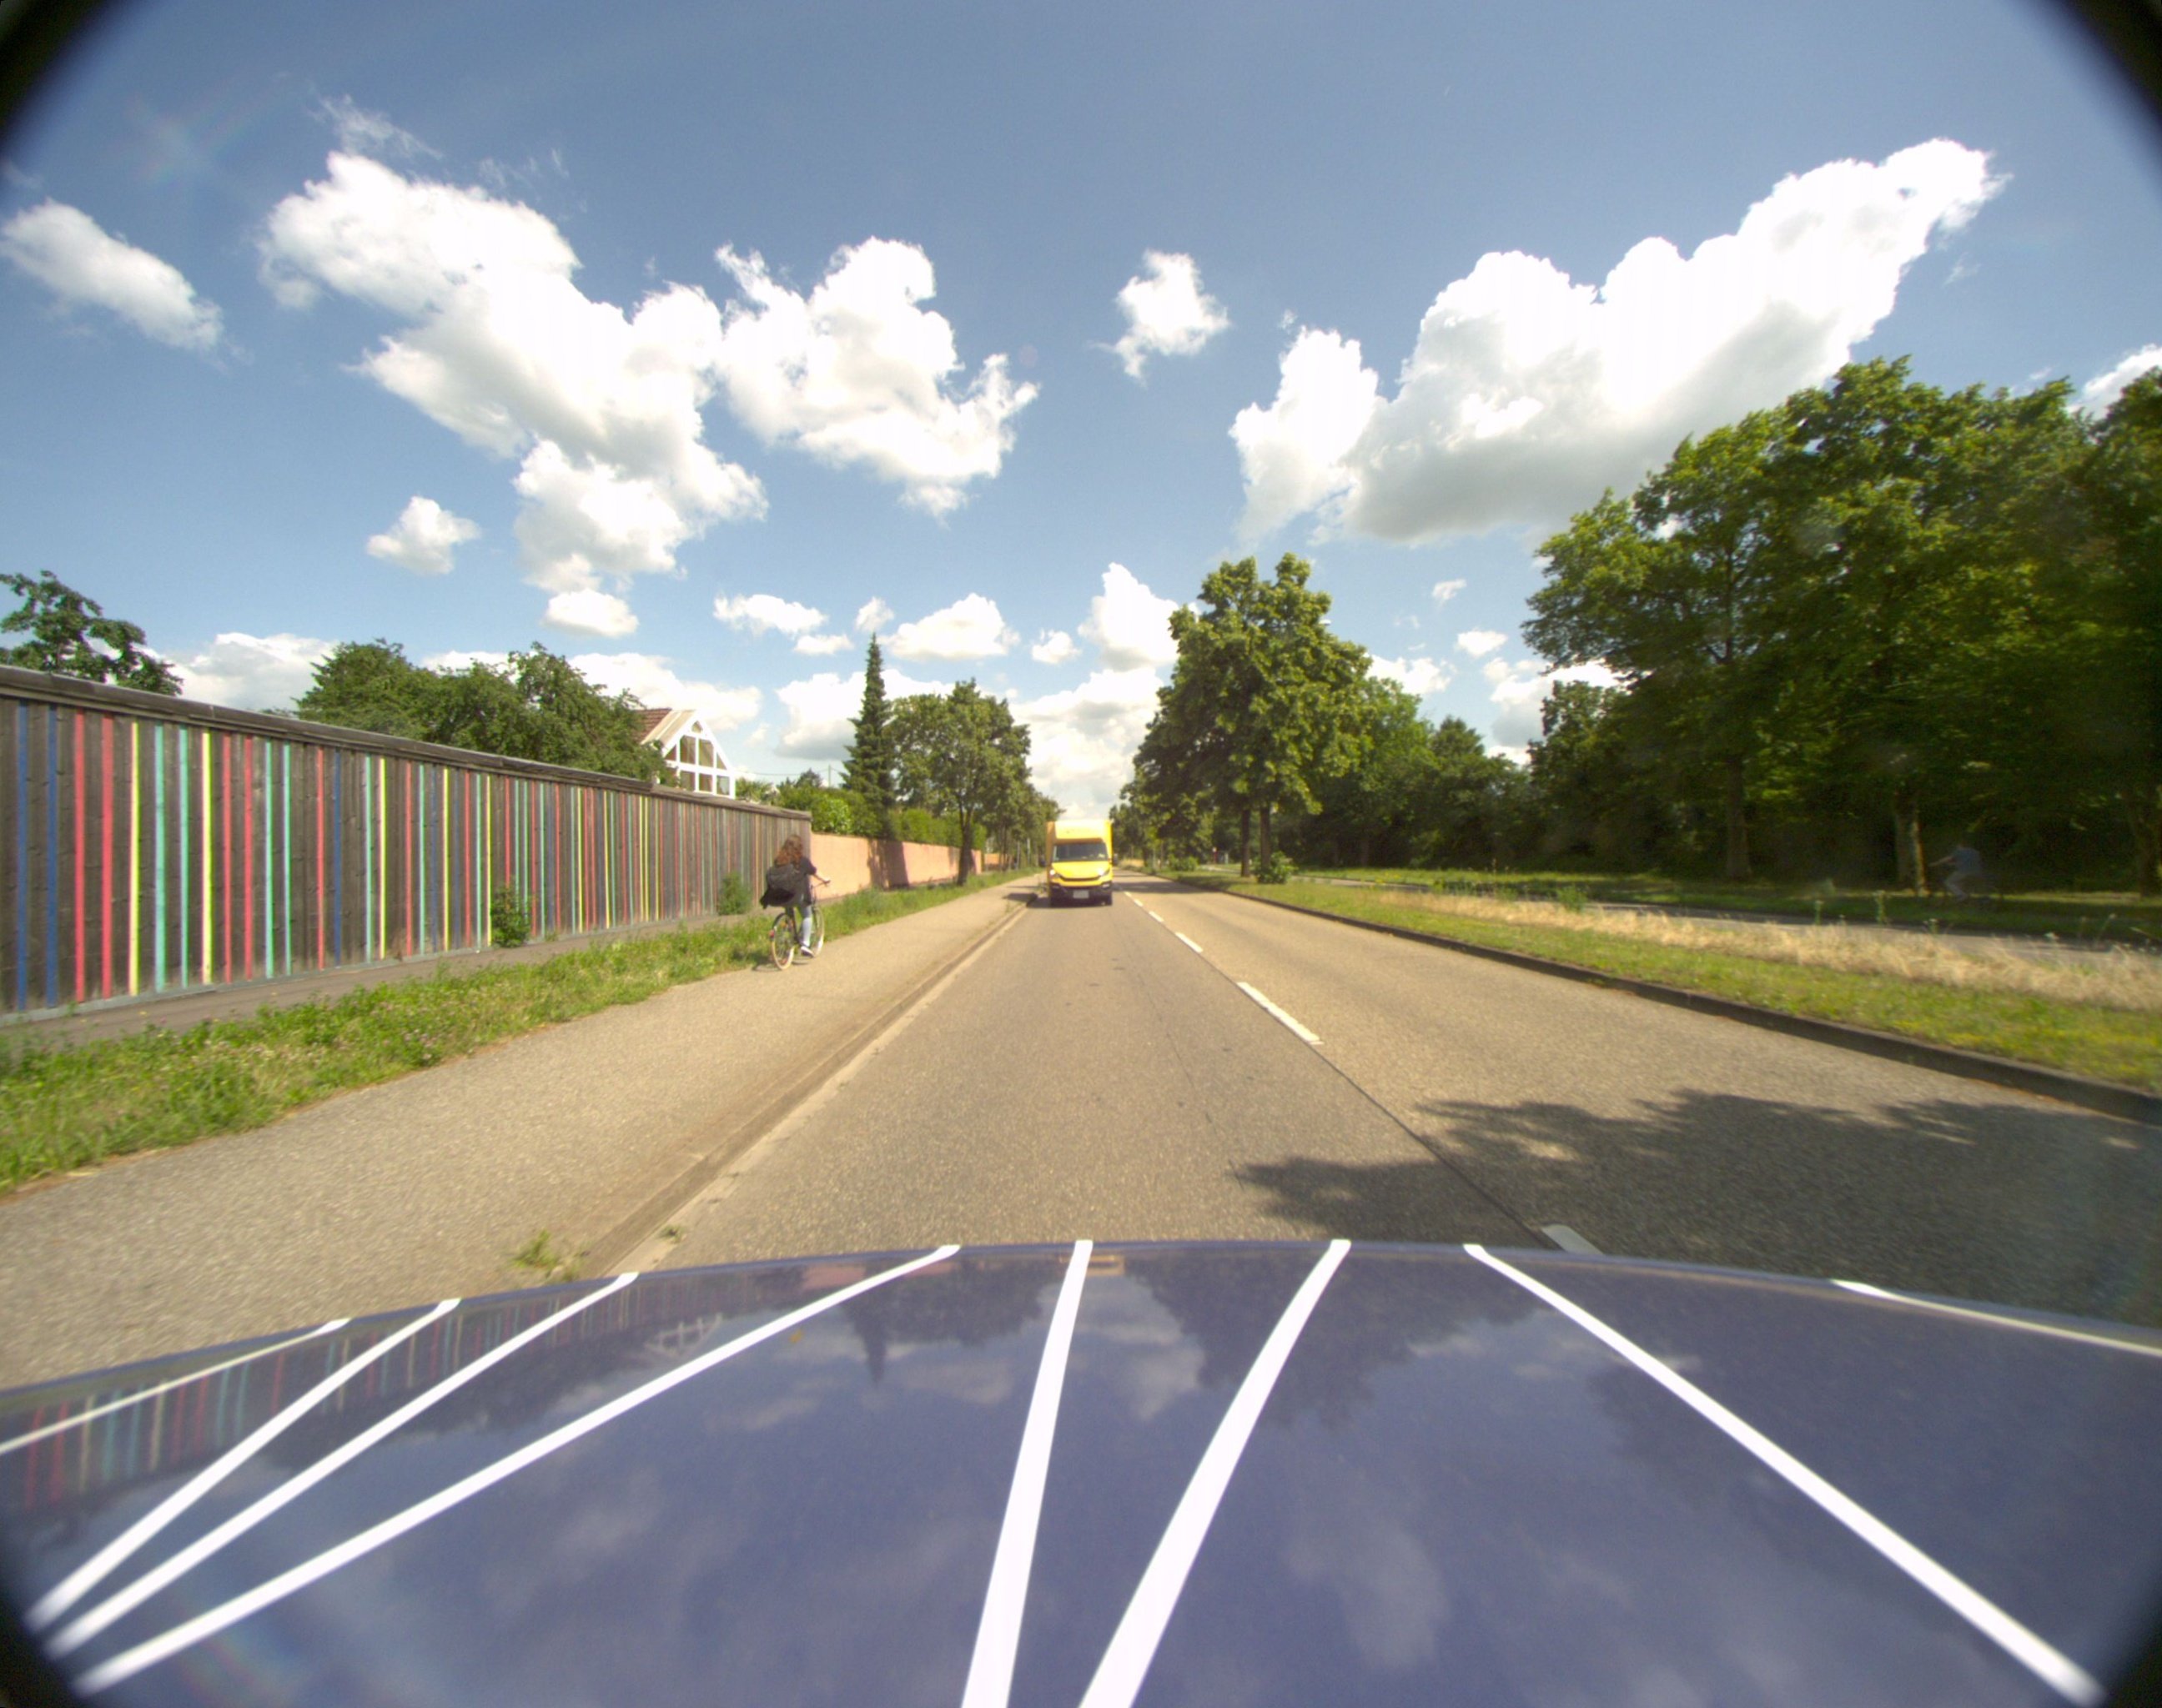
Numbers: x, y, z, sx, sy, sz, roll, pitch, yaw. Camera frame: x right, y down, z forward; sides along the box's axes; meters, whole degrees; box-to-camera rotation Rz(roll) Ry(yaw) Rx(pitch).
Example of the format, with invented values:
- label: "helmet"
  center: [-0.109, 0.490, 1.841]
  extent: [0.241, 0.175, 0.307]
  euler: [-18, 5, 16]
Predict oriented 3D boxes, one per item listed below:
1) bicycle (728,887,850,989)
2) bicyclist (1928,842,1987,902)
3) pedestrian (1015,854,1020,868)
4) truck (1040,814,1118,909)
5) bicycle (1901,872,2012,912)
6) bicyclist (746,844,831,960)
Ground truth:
- label: "bicycle"
  center: [-3.752, 1.029, 9.988]
  extent: [0.647, 1.061, 2.278]
  euler: [2, 0, 1]
- label: "bicyclist"
  center: [21.600, 0.429, 18.738]
  extent: [0.619, 1.440, 0.729]
  euler: [-1, 1, 3]
- label: "pedestrian"
  center: [-7.673, 0.805, 91.573]
  extent: [0.561, 1.667, 0.634]
  euler: [-1, 0, 0]
- label: "truck"
  center: [-0.061, 0.226, 27.249]
  extent: [2.270, 2.864, 8.027]
  euler: [-2, 0, 0]
- label: "bicycle"
  center: [21.612, 0.923, 18.815]
  extent: [0.619, 0.873, 1.915]
  euler: [-1, 0, 3]
- label: "bicyclist"
  center: [-3.743, 0.585, 9.784]
  extent: [0.656, 1.404, 0.986]
  euler: [2, 0, 1]
